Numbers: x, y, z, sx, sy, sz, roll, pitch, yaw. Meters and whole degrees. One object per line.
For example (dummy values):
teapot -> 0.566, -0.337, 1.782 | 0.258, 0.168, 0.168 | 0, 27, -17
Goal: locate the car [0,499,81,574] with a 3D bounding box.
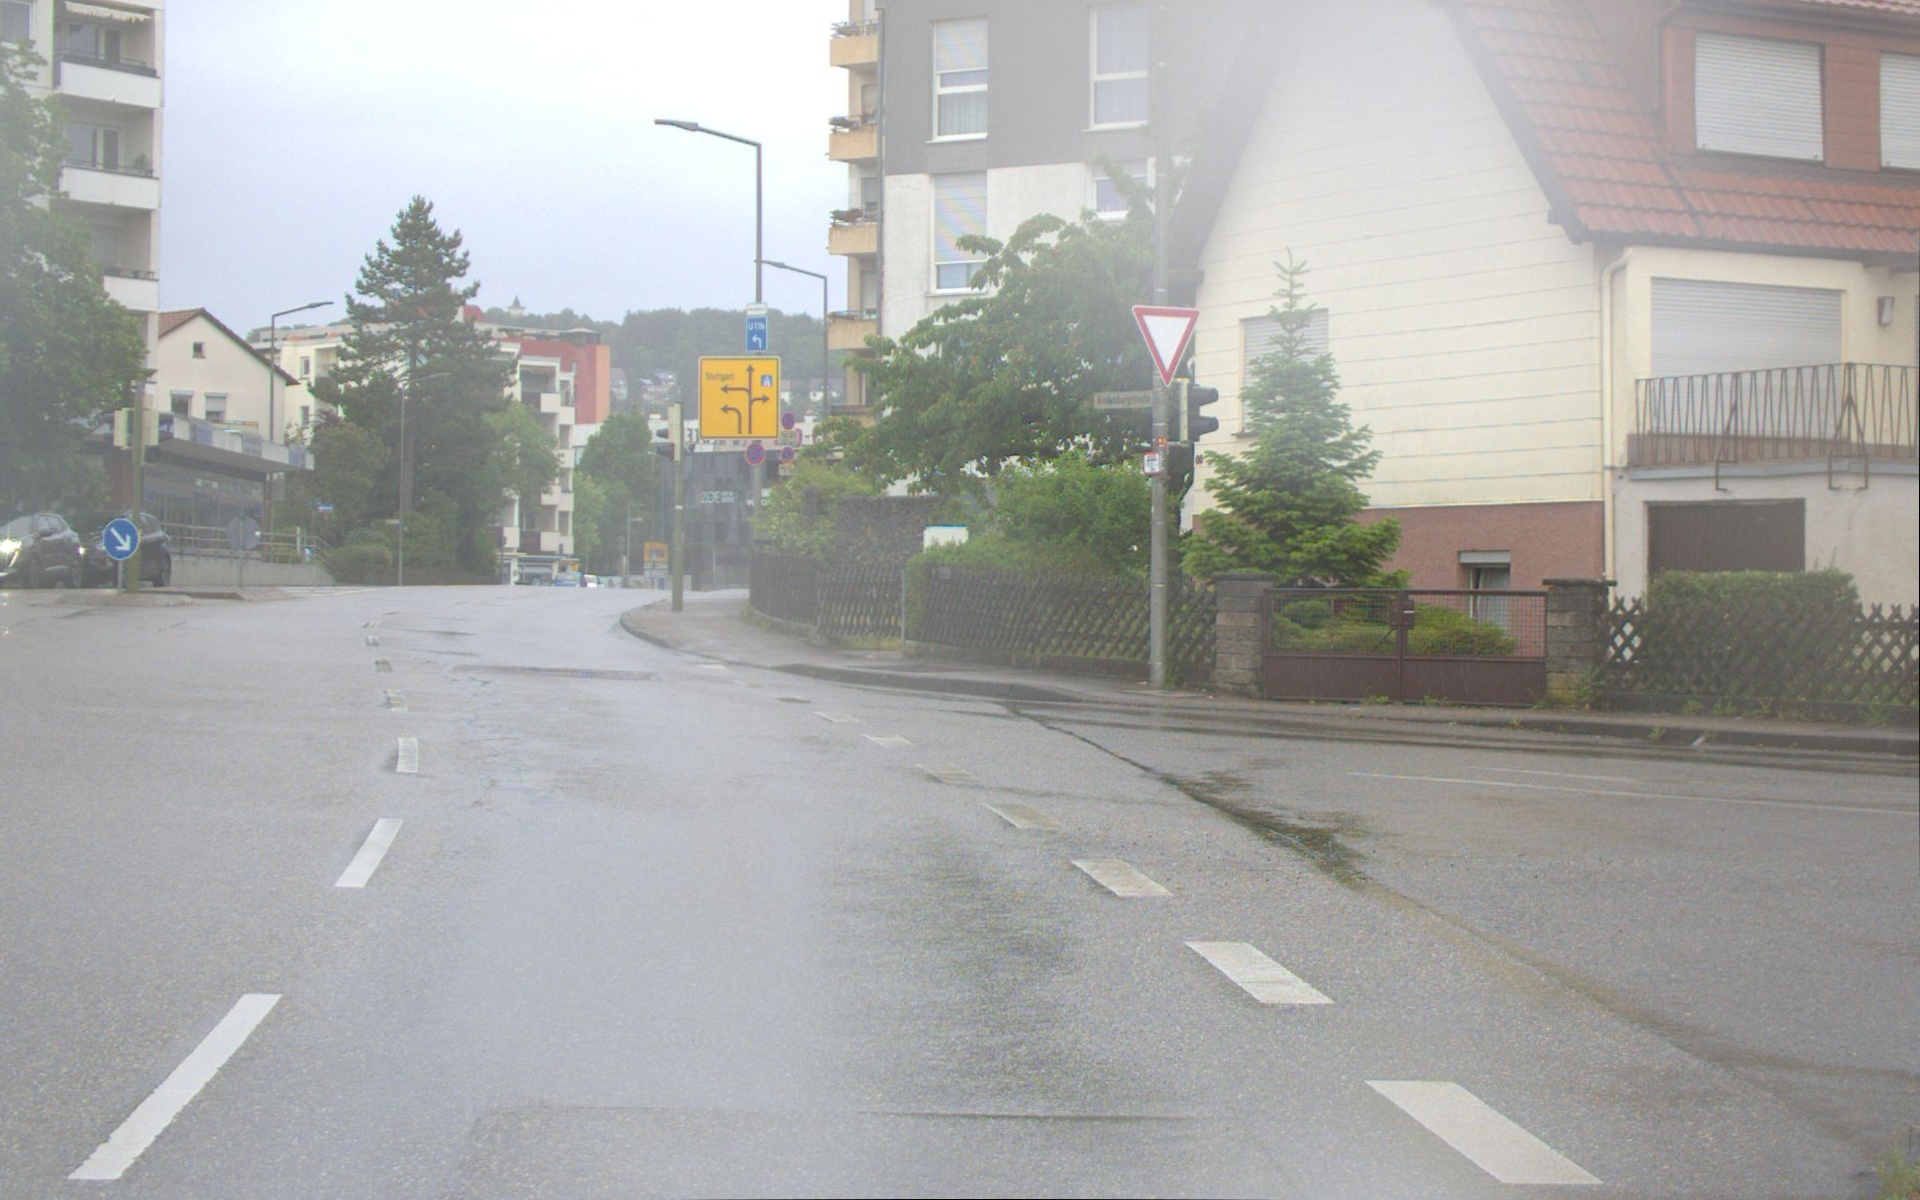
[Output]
car -> -18.126, -1.232, 65.568 | 1.715, 1.382, 4.021 | 1, 1, -1

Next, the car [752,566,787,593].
car -> -11.087, -1.200, 200.112 | 1.813, 1.481, 4.189 | 0, 1, 0

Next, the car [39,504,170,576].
car -> -17.742, -1.264, 71.431 | 1.778, 1.415, 3.831 | 1, 1, -1
